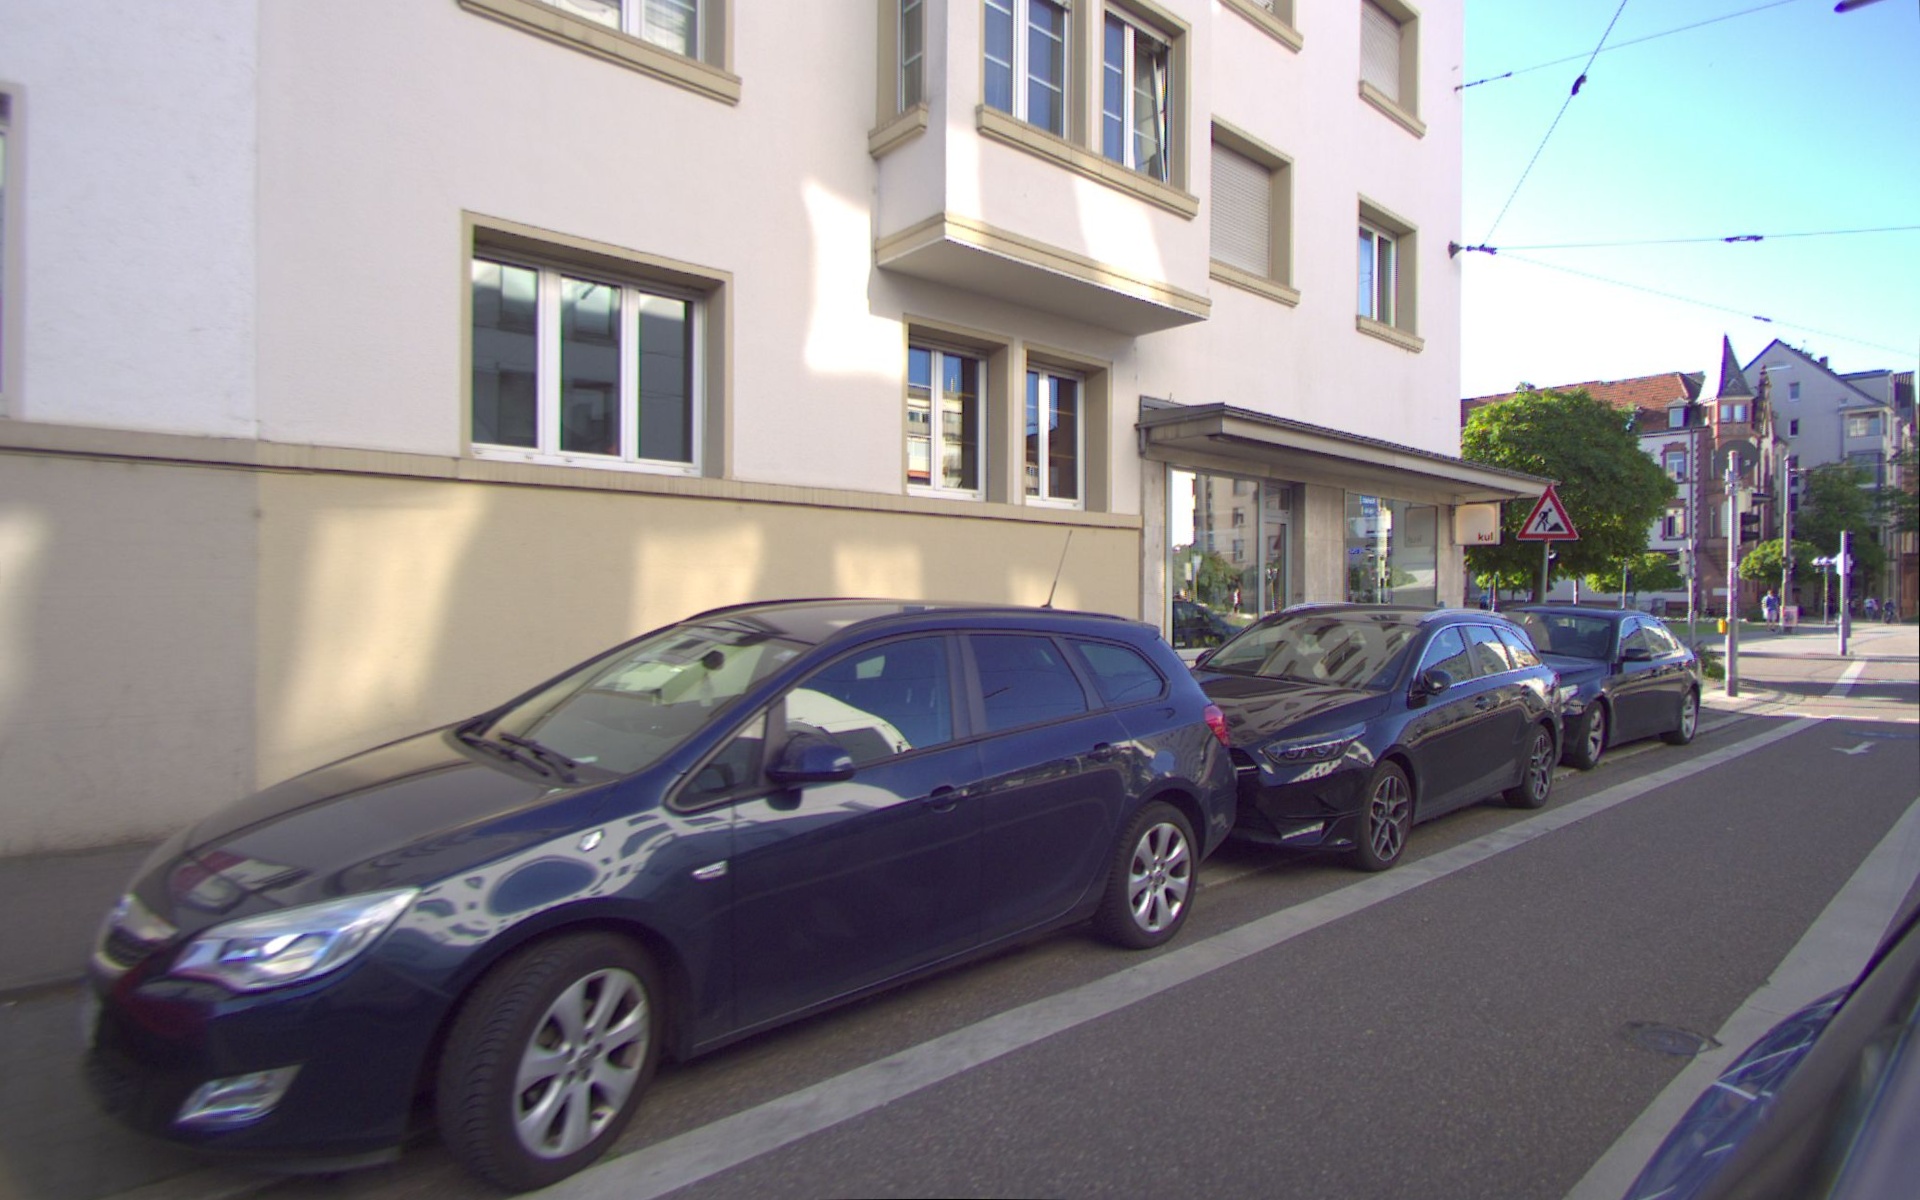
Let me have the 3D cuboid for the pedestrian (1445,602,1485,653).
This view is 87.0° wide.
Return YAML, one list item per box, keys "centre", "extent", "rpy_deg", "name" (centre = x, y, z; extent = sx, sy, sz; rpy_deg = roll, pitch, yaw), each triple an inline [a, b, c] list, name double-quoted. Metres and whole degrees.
- centre: [12.493, 0.671, 25.038]
  extent: [0.540, 1.228, 0.735]
  rpy_deg: [0, 0, -33]
  name: "pedestrian"

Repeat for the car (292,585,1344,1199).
- centre: [-0.323, 0.742, 4.284]
  extent: [4.022, 1.525, 1.862]
  rpy_deg: [0, 3, -40]
  name: "car"

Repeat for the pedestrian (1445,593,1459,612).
- centre: [34.606, 0.182, 71.213]
  extent: [0.668, 1.308, 0.709]
  rpy_deg: [0, 0, -43]
  name: "pedestrian"

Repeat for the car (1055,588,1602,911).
- centre: [2.863, 0.722, 7.259]
  extent: [4.431, 1.525, 1.860]
  rpy_deg: [-1, 3, -43]
  name: "car"

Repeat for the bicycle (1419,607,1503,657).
- centre: [10.749, 0.664, 21.753]
  extent: [0.352, 0.997, 1.669]
  rpy_deg: [0, 1, -32]
  name: "bicycle"

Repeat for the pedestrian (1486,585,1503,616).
- centre: [28.556, 0.012, 54.100]
  extent: [0.640, 1.622, 0.699]
  rpy_deg: [0, 0, 14]
  name: "pedestrian"

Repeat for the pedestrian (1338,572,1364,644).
- centre: [9.959, 0.206, 25.764]
  extent: [0.545, 1.811, 0.539]
  rpy_deg: [0, 0, 16]
  name: "pedestrian"

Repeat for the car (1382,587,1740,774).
- centre: [6.621, 0.667, 10.898]
  extent: [4.831, 1.525, 1.753]
  rpy_deg: [-1, 3, -40]
  name: "car"

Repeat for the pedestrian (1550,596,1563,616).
- centre: [32.255, 0.319, 54.735]
  extent: [0.445, 1.096, 0.449]
  rpy_deg: [0, 0, 10]
  name: "pedestrian"

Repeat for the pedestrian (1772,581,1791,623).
- centre: [38.880, 0.080, 47.916]
  extent: [0.645, 1.980, 0.577]
  rpy_deg: [0, 0, 33]
  name: "pedestrian"
